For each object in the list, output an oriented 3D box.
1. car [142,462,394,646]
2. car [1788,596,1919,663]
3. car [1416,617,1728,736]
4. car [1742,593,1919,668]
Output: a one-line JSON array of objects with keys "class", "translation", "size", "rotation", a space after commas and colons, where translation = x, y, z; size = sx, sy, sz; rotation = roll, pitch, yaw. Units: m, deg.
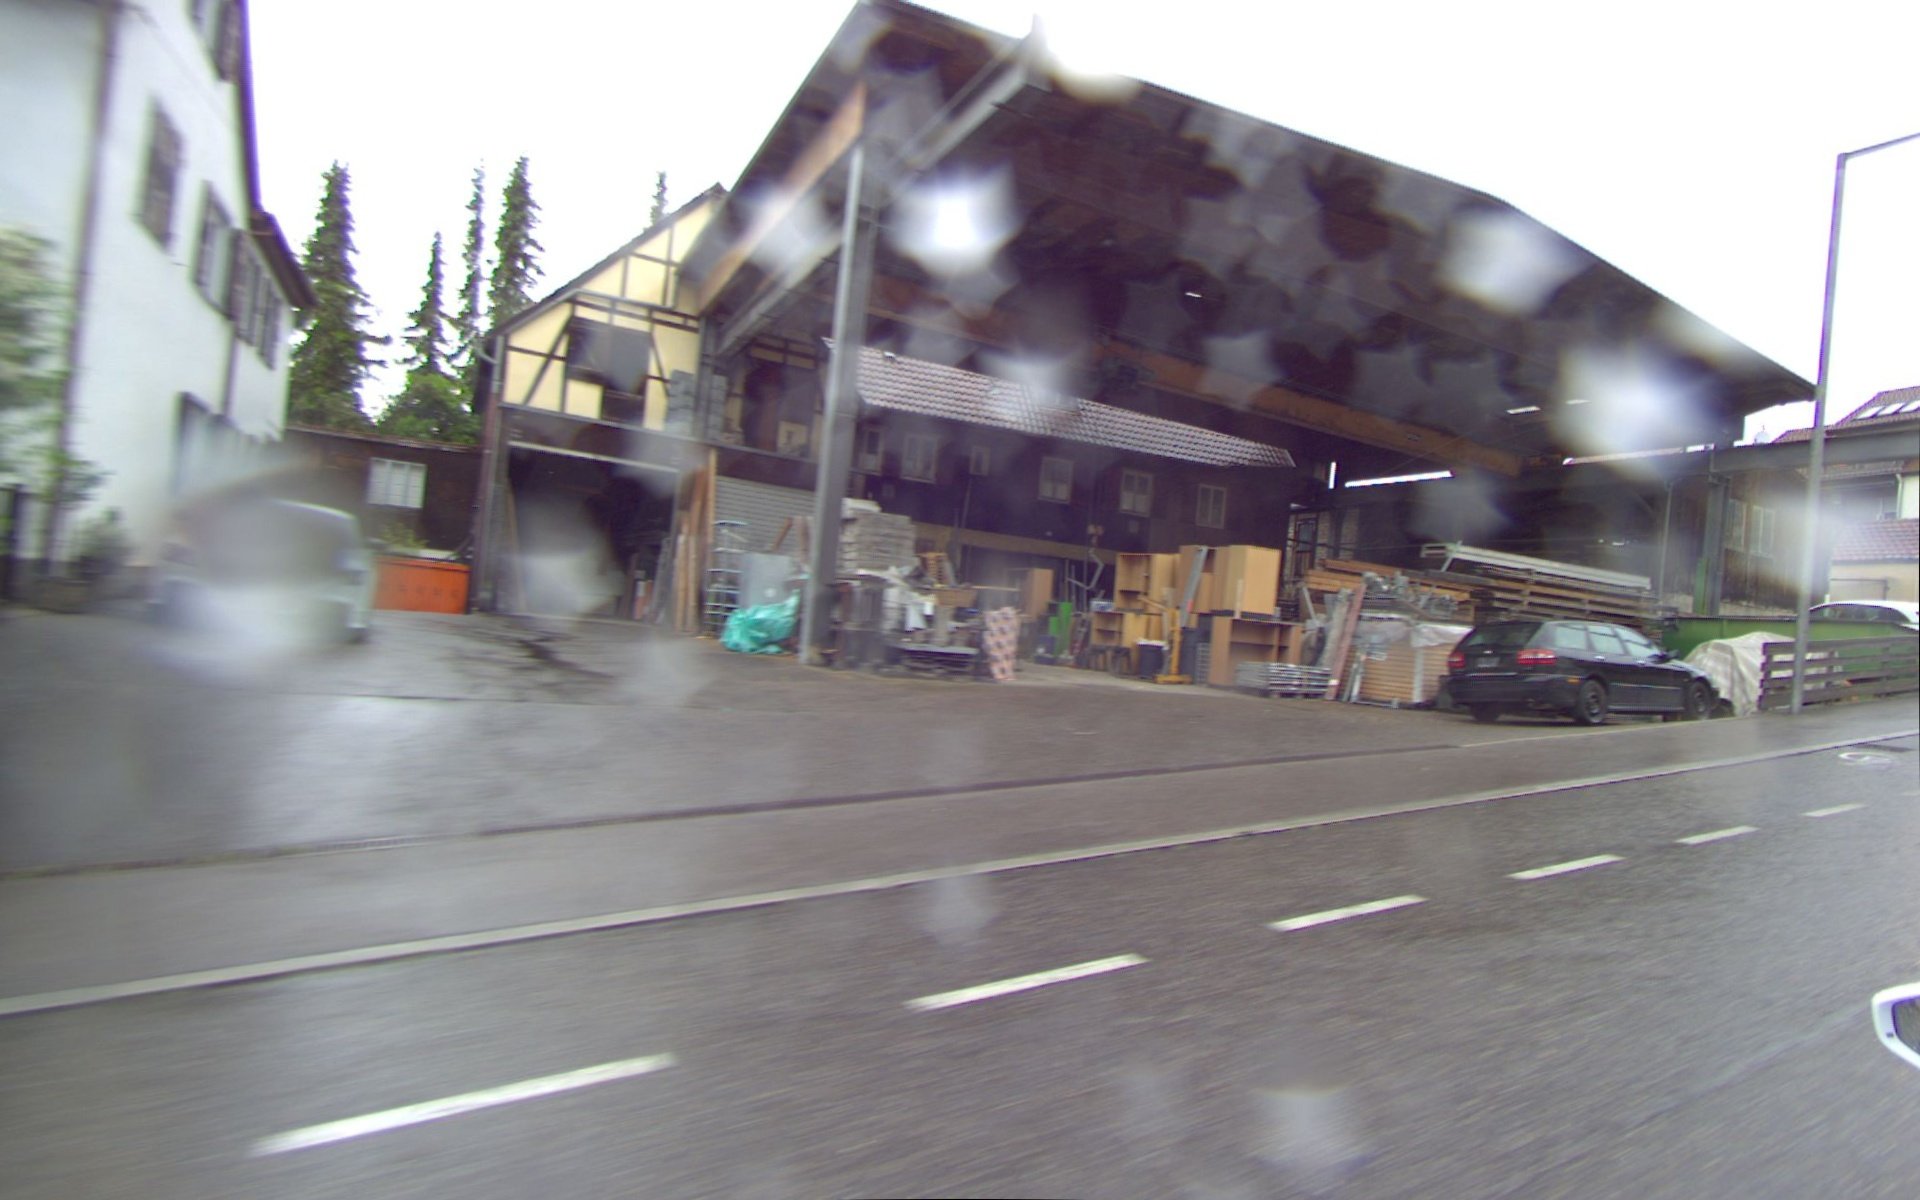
[{"class": "car", "translation": [-7.275, -0.407, 10.959], "size": [1.782, 1.528, 3.969], "rotation": [4, -1, -29]}, {"class": "car", "translation": [23.037, 0.713, 24.177], "size": [1.871, 1.525, 4.493], "rotation": [1, 0, -18]}, {"class": "car", "translation": [8.718, 0.985, 14.243], "size": [4.392, 1.460, 1.886], "rotation": [1, -1, -29]}, {"class": "car", "translation": [20.279, 0.647, 22.516], "size": [1.871, 1.525, 3.984], "rotation": [1, 0, -18]}]
